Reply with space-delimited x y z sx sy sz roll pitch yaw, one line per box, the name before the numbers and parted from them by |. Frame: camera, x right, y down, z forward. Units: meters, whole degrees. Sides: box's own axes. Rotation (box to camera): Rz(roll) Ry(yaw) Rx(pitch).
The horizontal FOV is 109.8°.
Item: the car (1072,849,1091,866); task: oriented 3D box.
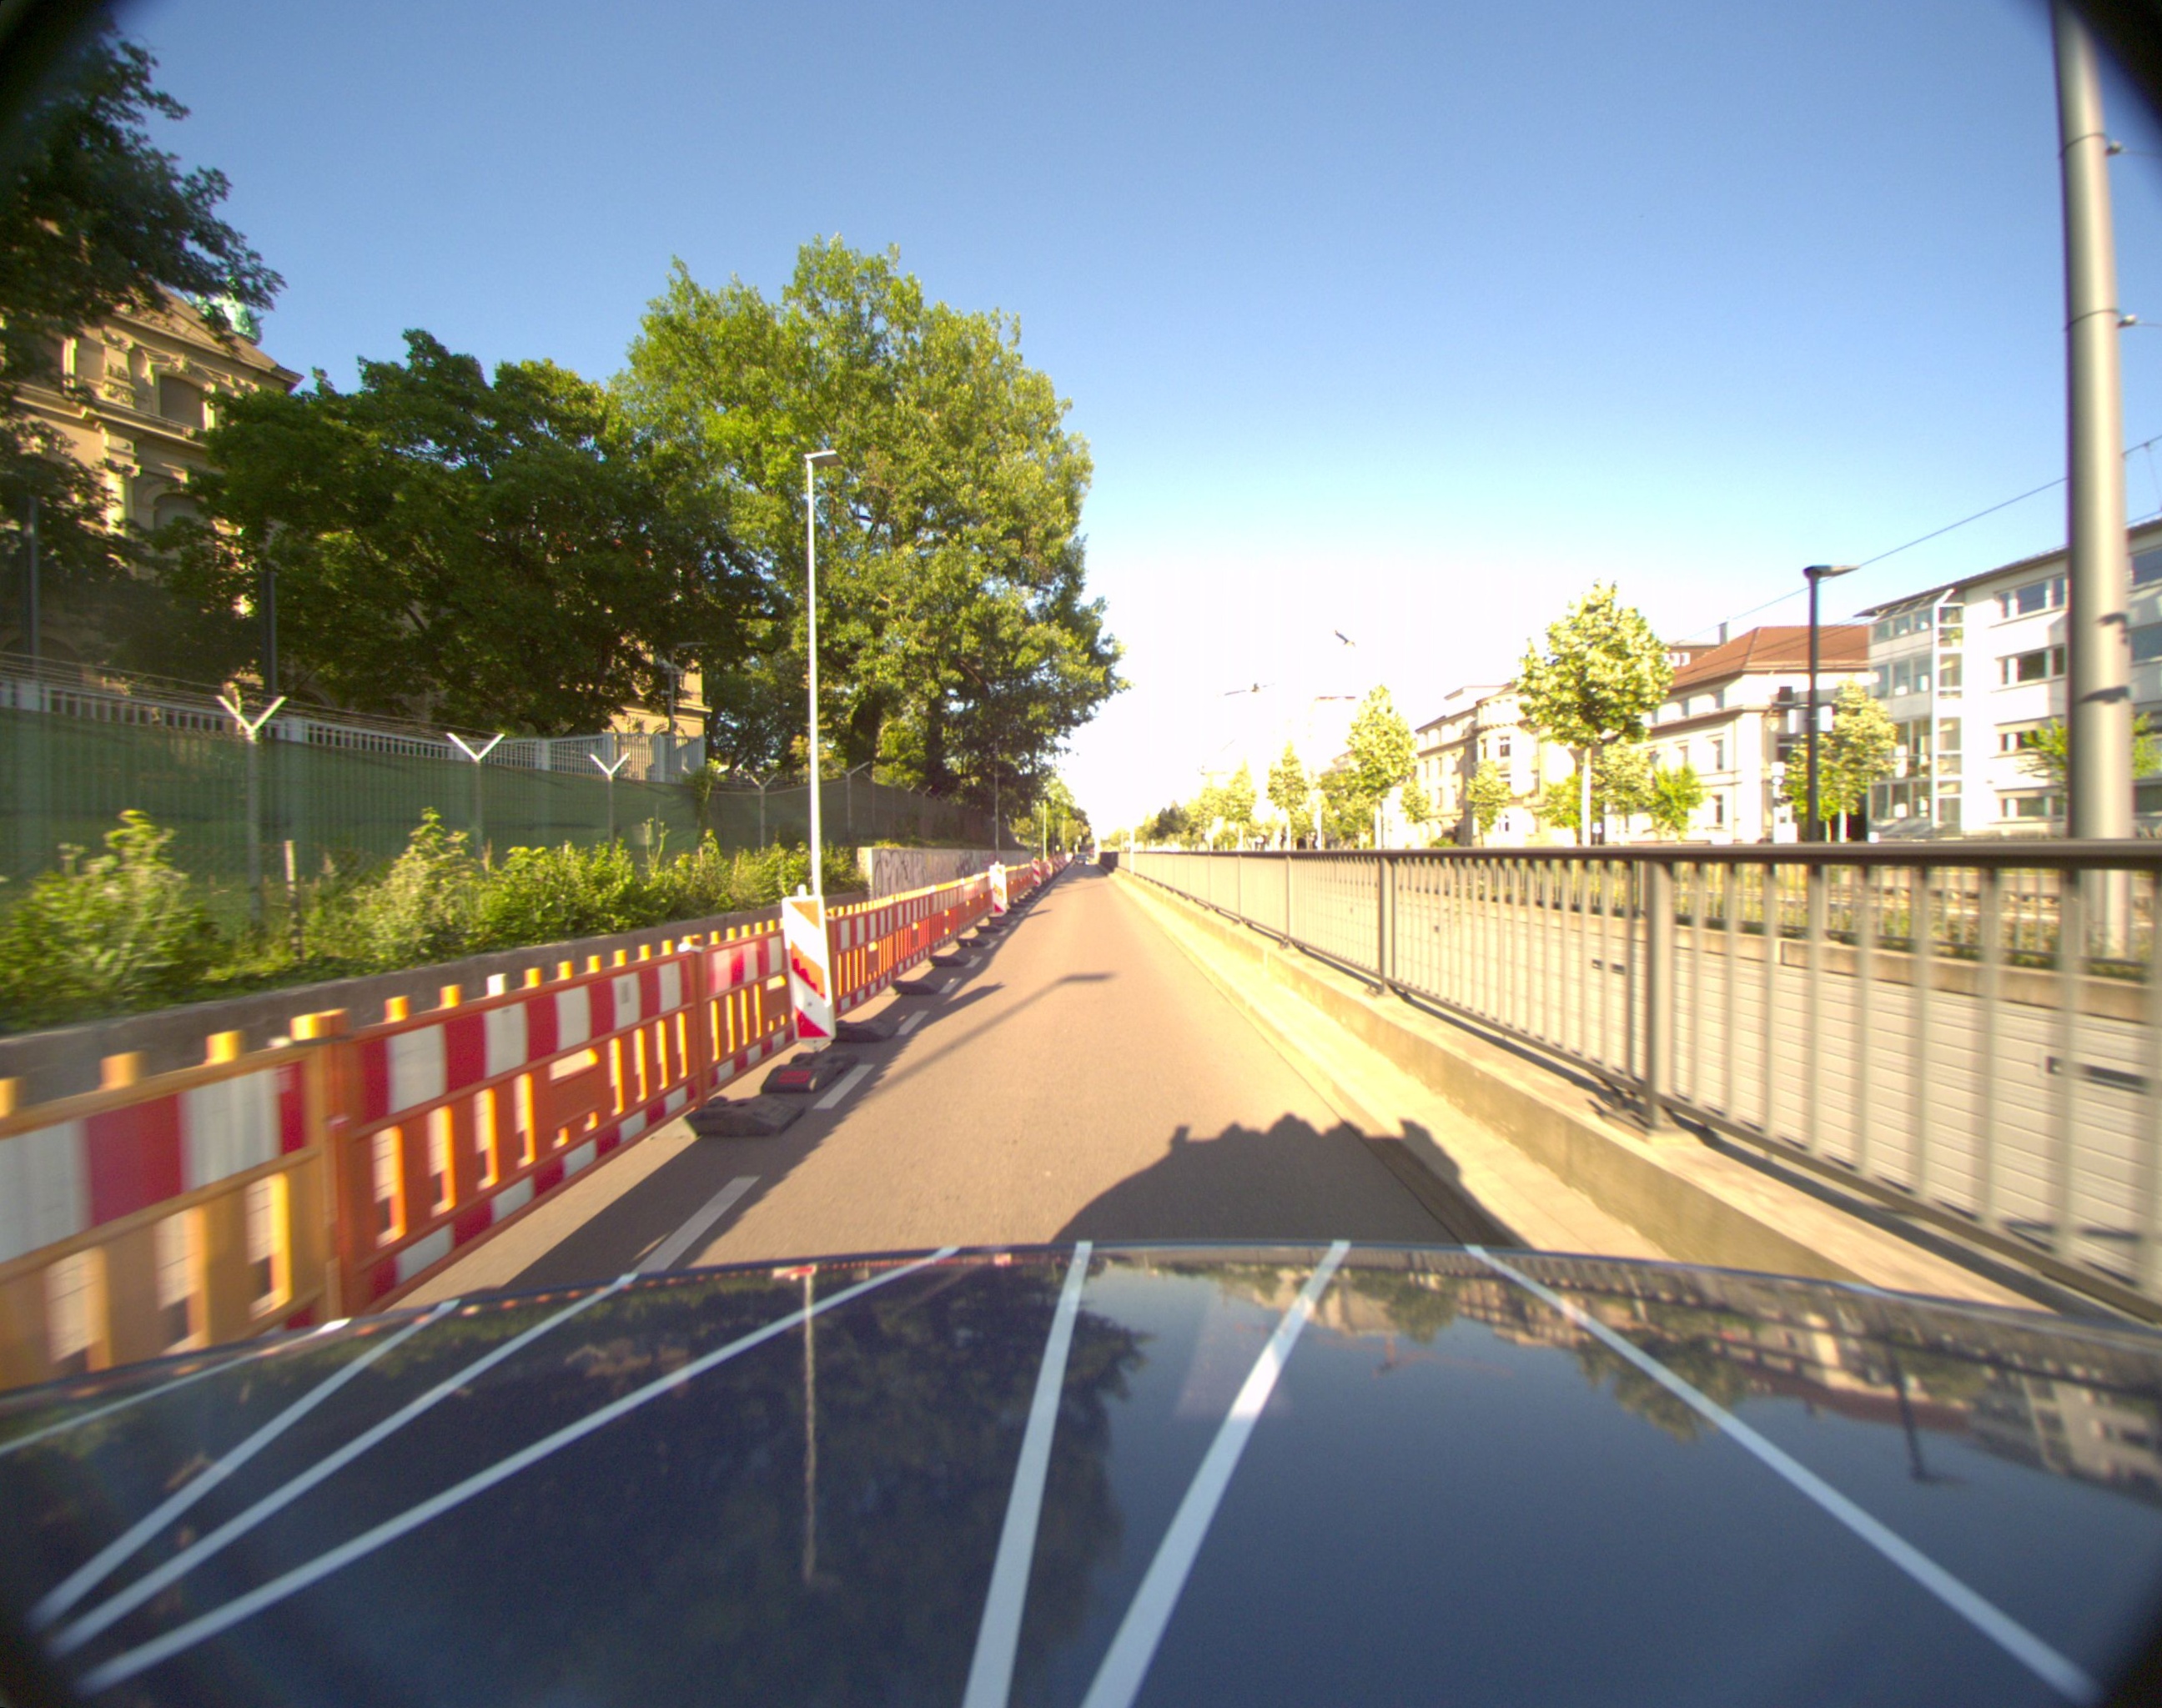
car | 0.104 0.391 87.027 2.080 1.827 3.999 -1 1 1
